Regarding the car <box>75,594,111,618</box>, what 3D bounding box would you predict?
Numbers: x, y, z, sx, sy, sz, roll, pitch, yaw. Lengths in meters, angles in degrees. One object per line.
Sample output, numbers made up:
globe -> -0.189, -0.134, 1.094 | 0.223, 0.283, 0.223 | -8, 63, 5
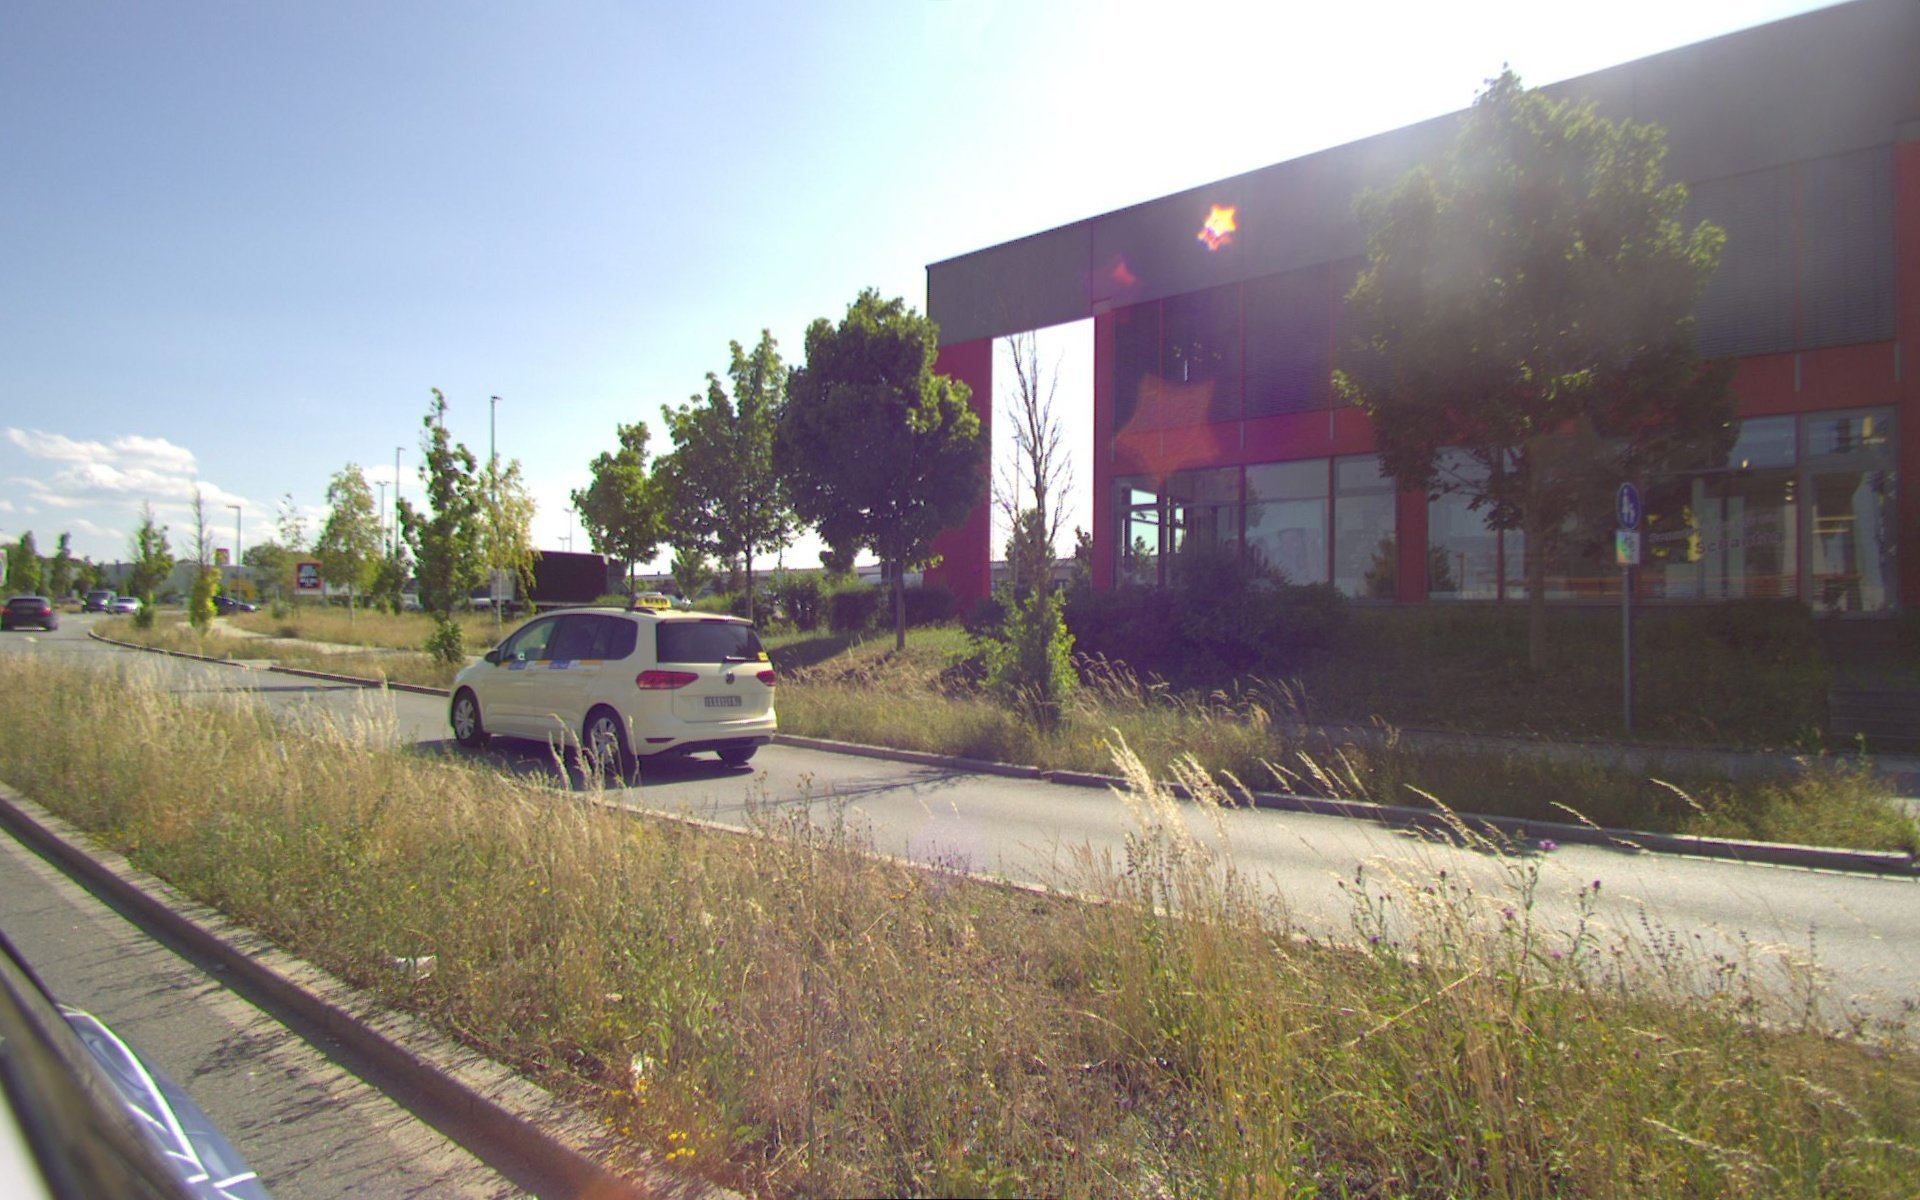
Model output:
car -> -78.427, 0.538, 91.582 | 2.046, 2.064, 4.694 | -1, 1, -35

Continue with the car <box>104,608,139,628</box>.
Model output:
car -> -70.667, 1.512, 85.304 | 1.967, 1.697, 4.010 | 1, -2, -35

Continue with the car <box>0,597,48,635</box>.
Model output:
car -> -42.477, 0.729, 45.639 | 1.969, 1.630, 4.005 | 2, -2, -42

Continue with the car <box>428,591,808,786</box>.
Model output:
car -> -3.811, 0.864, 11.012 | 4.150, 1.728, 1.840 | -1, -4, 37
